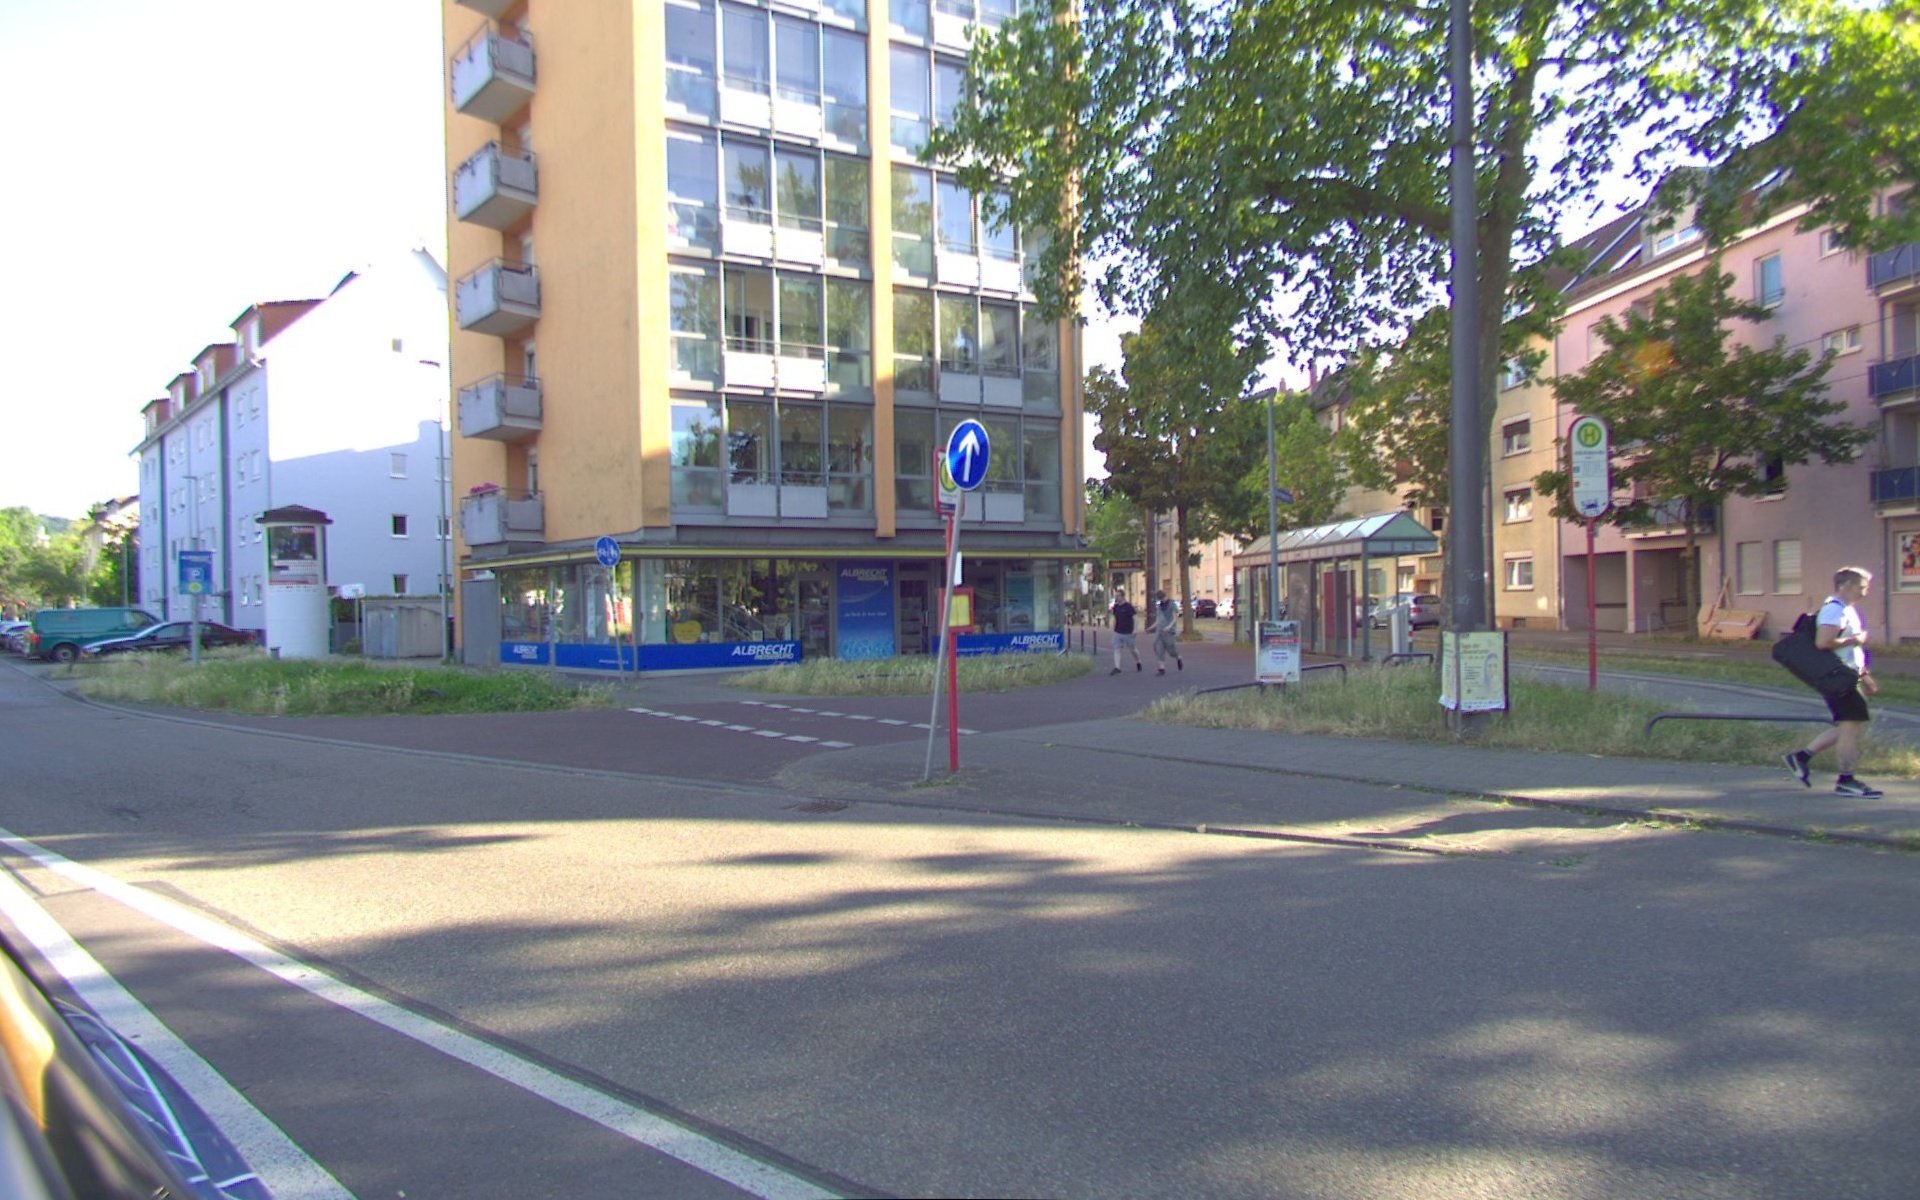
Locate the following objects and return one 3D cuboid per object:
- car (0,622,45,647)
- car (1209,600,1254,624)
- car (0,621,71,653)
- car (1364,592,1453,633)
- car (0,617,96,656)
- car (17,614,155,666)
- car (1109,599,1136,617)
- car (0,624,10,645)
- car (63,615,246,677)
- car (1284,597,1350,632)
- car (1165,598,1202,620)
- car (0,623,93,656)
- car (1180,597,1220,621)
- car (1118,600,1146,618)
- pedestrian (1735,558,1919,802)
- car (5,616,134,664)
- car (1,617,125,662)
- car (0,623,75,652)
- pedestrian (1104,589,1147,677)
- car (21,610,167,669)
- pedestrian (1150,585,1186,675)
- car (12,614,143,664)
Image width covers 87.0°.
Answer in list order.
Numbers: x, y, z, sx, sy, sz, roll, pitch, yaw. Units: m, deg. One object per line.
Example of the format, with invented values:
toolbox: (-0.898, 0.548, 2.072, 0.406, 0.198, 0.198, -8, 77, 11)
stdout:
car: (-64.275, 2.362, 67.882, 4.199, 1.585, 1.868, -1, 1, -44)
car: (18.391, 0.790, 68.793, 1.741, 1.588, 4.049, -1, 0, -3)
car: (-56.583, 2.250, 61.309, 4.016, 1.765, 1.900, -1, 0, -44)
car: (19.926, 0.518, 45.168, 1.911, 1.719, 4.115, -1, 0, -3)
car: (-46.925, 1.849, 51.721, 4.061, 1.785, 1.758, -1, 0, -44)
car: (-33.949, 1.501, 39.362, 3.941, 1.829, 2.002, -1, 0, -44)
car: (17.023, 0.813, 106.133, 1.911, 1.719, 4.372, -1, 0, -3)
car: (-75.522, 2.715, 77.872, 3.490, 1.585, 1.868, -1, 1, -44)
car: (-25.113, 1.385, 31.681, 4.361, 1.674, 2.003, -1, 0, -41)
car: (19.112, 0.748, 54.339, 1.911, 1.719, 4.115, -1, 0, -3)
car: (17.881, 0.707, 81.088, 1.771, 1.719, 4.170, -1, 0, -3)
car: (-48.923, 2.078, 53.817, 4.199, 1.585, 1.868, -1, 1, -44)
car: (17.935, 0.660, 75.898, 1.808, 1.719, 4.059, -1, 0, -3)
car: (17.055, 0.854, 100.617, 1.911, 1.719, 4.003, -1, 0, -3)
pedestrian: (6.782, 0.571, 7.757, 1.080, 1.750, 0.897, -1, 0, 20)
car: (-37.680, 1.649, 42.850, 4.003, 1.829, 1.938, -1, 0, -44)
car: (-39.646, 1.700, 44.772, 4.016, 1.765, 1.900, -1, 0, -44)
car: (-56.450, 2.280, 61.256, 4.199, 1.585, 1.868, -1, 1, -44)
pedestrian: (3.383, 0.666, 20.746, 0.803, 1.763, 0.538, -1, 0, 6)
car: (-32.046, 1.417, 37.516, 2.001, 1.962, 3.942, -1, 0, 45)
pedestrian: (4.136, 0.587, 20.159, 0.622, 1.763, 0.689, -1, 0, 6)
car: (-35.945, 1.521, 41.268, 3.941, 1.829, 2.002, -1, 0, -44)
